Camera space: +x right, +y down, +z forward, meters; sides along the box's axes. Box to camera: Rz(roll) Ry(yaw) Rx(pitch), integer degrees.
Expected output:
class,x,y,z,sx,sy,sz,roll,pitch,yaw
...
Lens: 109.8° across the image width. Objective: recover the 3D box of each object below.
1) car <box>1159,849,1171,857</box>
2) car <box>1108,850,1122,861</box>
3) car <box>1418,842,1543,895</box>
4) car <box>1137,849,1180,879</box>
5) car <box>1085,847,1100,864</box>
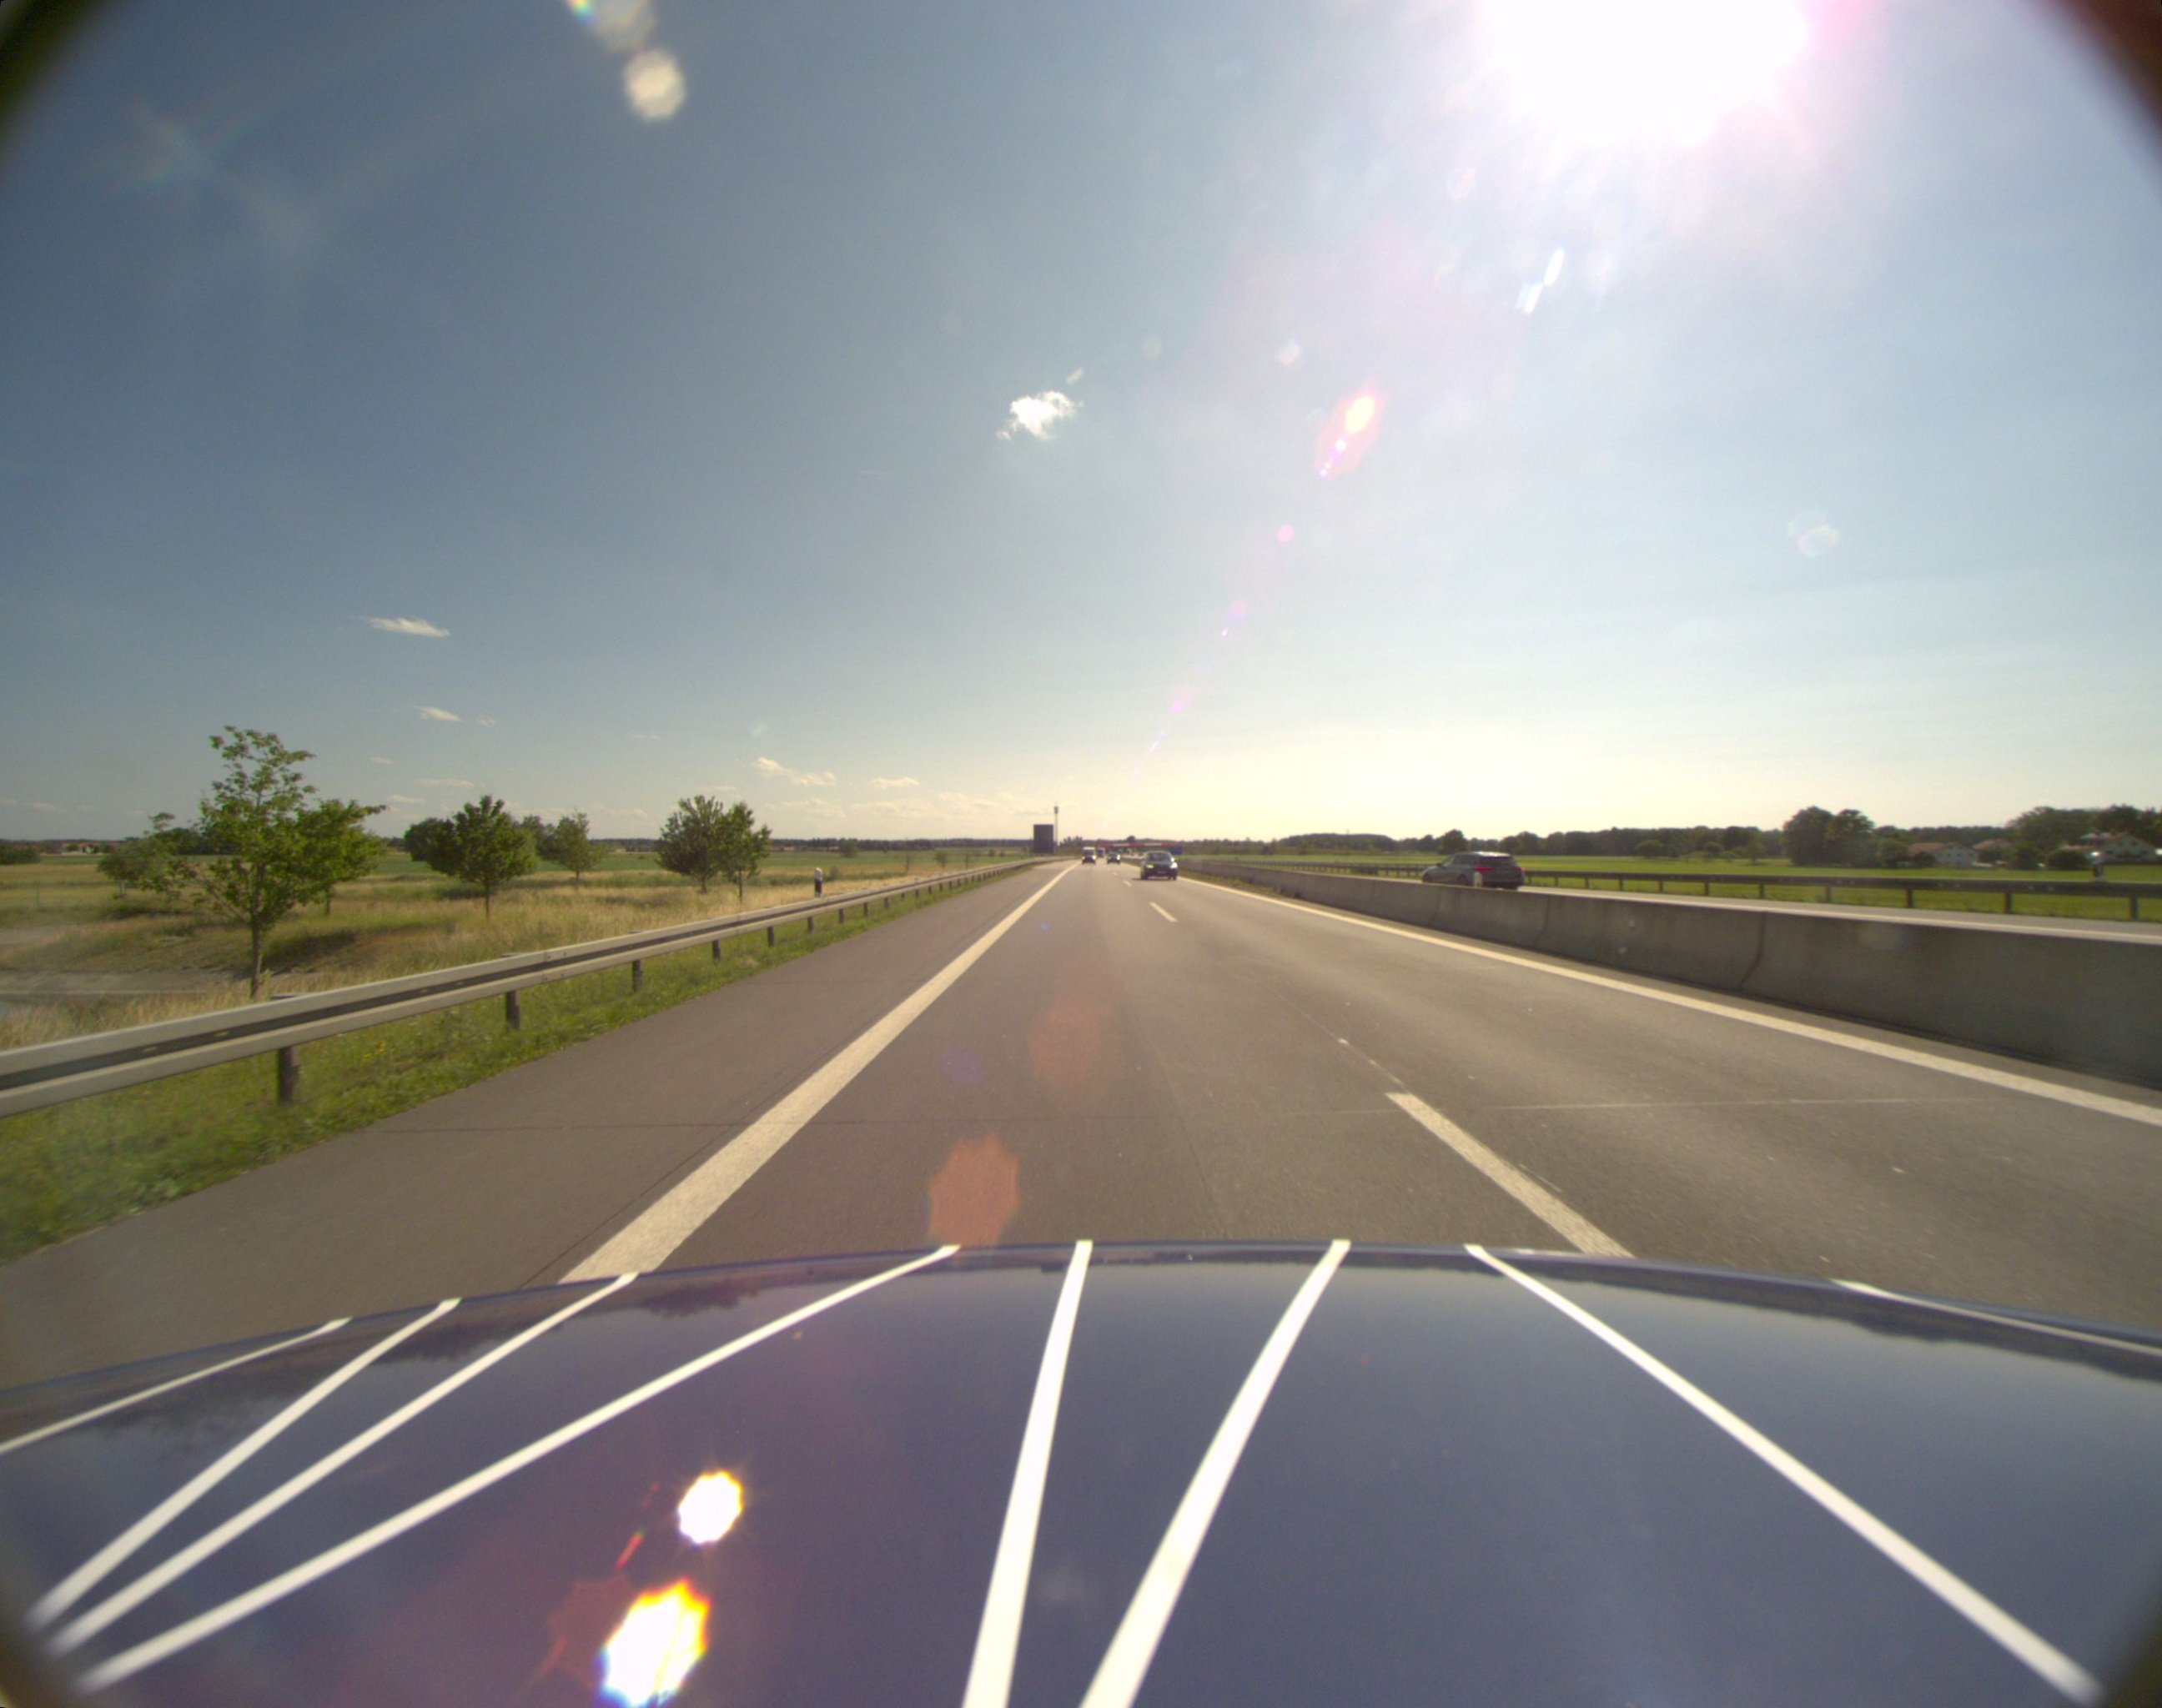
class,x,y,z,sx,sy,sz,roll,pitch,yaw
car,16.959,-0.152,154.273,1.902,1.514,4.805,2,1,1
car,5.346,0.230,119.333,2.030,1.600,4.818,-1,0,1
car,14.270,0.496,27.531,1.912,1.675,5.007,-3,0,1
car,4.342,0.526,43.250,2.030,1.600,4.818,0,1,1
car,1.572,0.135,102.682,2.030,2.225,4.818,1,1,2
